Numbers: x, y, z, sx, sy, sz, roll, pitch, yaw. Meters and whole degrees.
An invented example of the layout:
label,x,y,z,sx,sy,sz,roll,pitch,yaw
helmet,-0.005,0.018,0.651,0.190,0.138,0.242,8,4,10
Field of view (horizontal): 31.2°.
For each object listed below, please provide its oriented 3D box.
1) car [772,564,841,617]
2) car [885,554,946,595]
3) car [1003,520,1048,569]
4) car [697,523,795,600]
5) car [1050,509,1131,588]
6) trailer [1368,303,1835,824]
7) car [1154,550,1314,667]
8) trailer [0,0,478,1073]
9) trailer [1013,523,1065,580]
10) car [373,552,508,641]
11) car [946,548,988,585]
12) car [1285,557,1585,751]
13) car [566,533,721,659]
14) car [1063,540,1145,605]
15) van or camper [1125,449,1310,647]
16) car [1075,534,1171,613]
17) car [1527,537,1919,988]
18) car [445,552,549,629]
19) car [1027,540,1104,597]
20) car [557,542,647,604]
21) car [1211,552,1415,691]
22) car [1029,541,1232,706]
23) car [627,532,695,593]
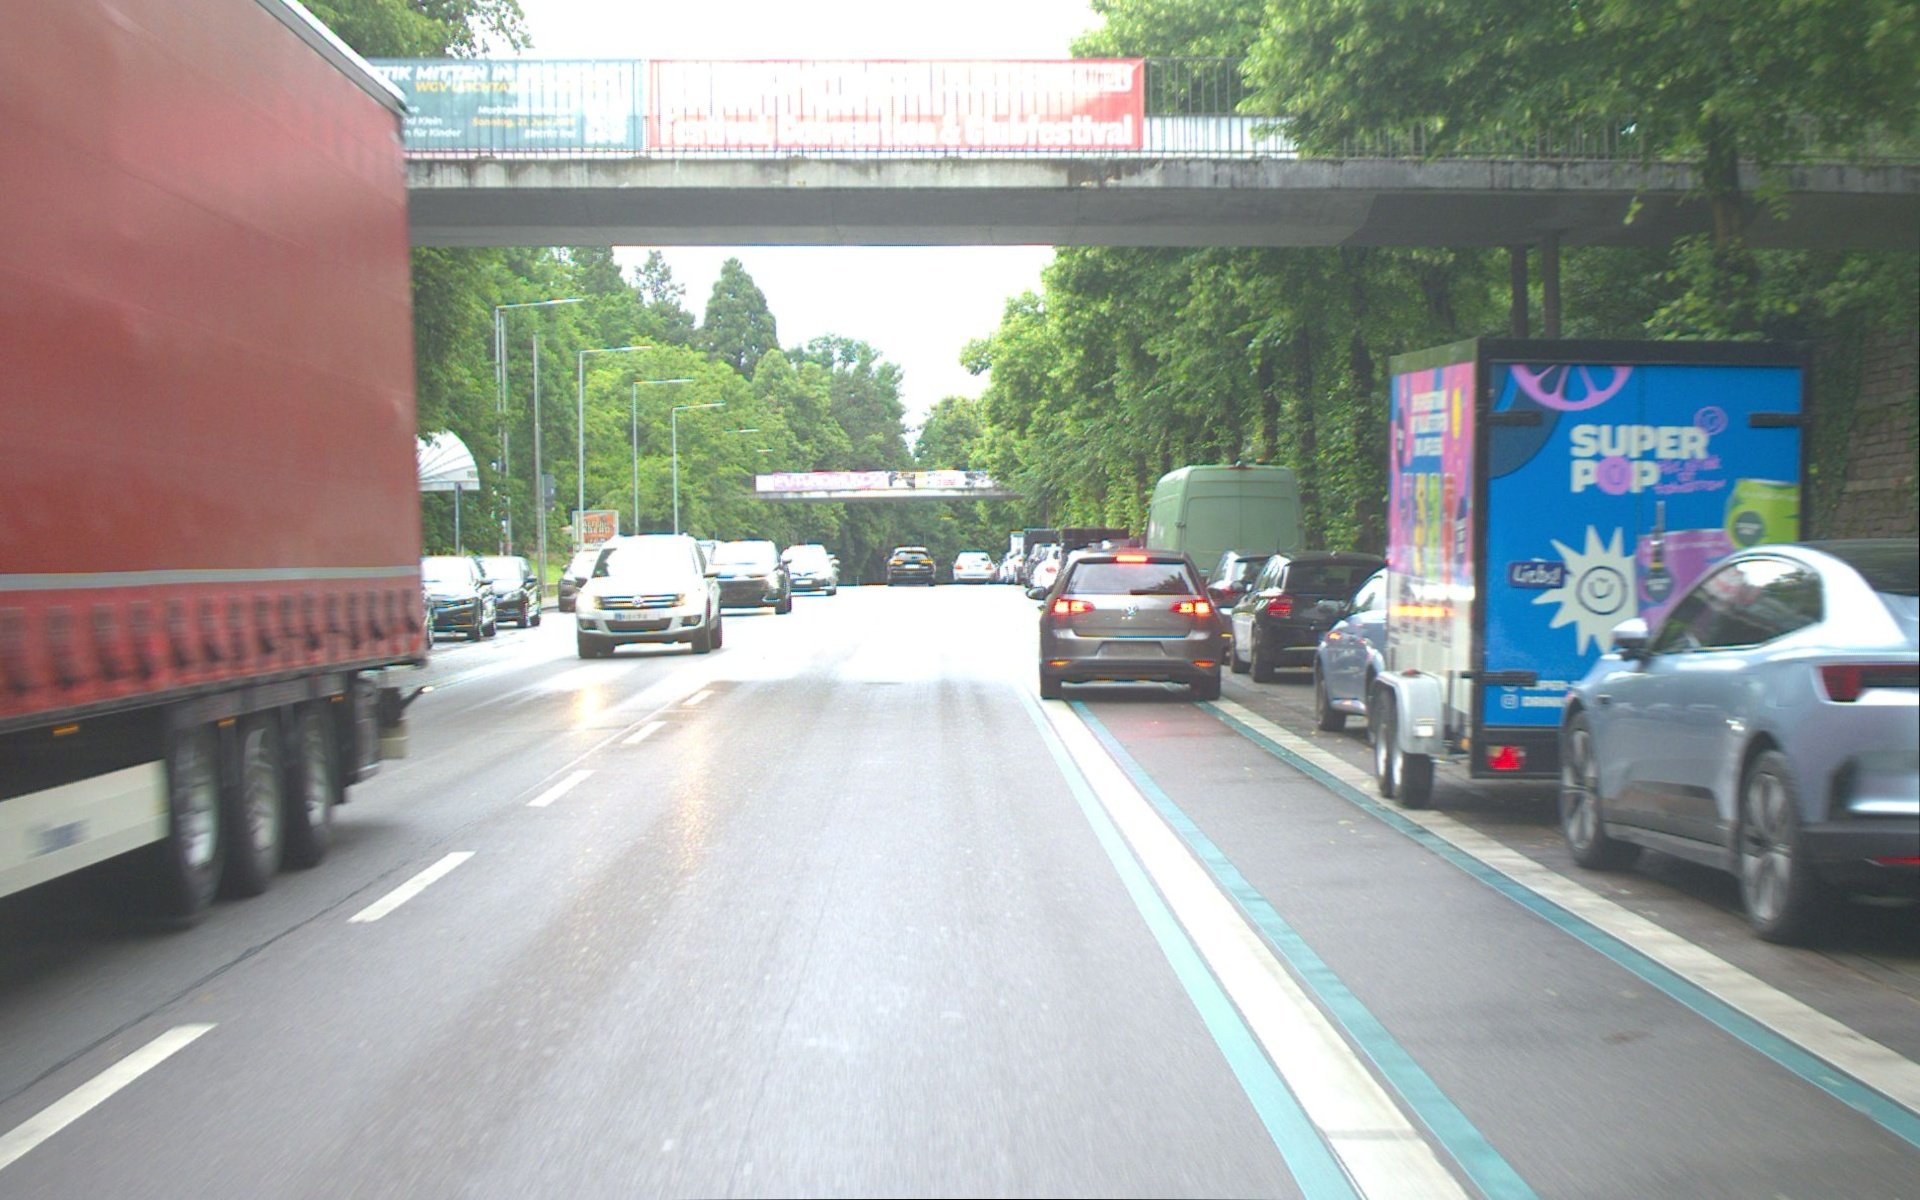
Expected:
label,x,y,z,sx,sy,sz,roll,pitch,yaw
car,-4.682,-0.312,105.129,1.921,1.555,4.621,1,1,0
car,-1.686,-0.971,129.035,2.140,1.487,4.499,0,1,-2
car,2.855,-2.442,150.521,1.889,2.120,4.045,0,1,1
car,-4.756,-0.878,76.806,1.966,1.622,4.321,-1,1,-1
car,3.413,-1.379,90.706,1.926,2.015,4.664,0,1,0
trailer,3.631,-0.233,20.188,1.952,2.749,4.007,0,1,-1
car,3.446,0.069,43.844,1.686,1.411,4.100,0,1,0
trailer,-4.192,-0.777,13.360,2.687,4.244,12.770,-3,1,0
trailer,3.053,-1.877,133.882,1.884,2.158,3.808,-1,1,0
car,-9.221,-0.102,61.320,1.956,1.458,4.757,0,2,-3
car,0.312,-1.482,151.128,1.731,1.578,4.037,-1,1,-1
car,3.601,0.364,26.673,1.584,1.348,3.863,1,1,-3
car,-4.387,-0.099,48.143,1.834,1.660,4.181,-1,1,-1
car,3.322,-0.657,80.041,1.686,1.448,4.166,1,1,0
van or camper,3.744,-0.784,51.189,2.042,2.720,6.901,1,1,-1
car,3.394,-0.578,72.116,1.756,1.584,4.499,1,1,0
car,3.850,0.539,14.414,1.899,1.542,4.756,1,1,-3
car,-9.474,-0.216,70.601,1.670,1.452,3.994,-1,2,-1
car,2.911,-0.891,95.621,1.789,1.537,4.890,1,1,-2
car,-9.200,-0.710,88.534,2.077,1.477,4.674,-1,2,-3
car,3.883,0.196,38.399,1.686,1.411,4.198,-1,1,-2
car,1.627,0.181,34.024,1.818,1.503,4.139,0,1,0
car,-9.877,-1.260,113.779,1.913,1.925,4.928,-1,2,-1
